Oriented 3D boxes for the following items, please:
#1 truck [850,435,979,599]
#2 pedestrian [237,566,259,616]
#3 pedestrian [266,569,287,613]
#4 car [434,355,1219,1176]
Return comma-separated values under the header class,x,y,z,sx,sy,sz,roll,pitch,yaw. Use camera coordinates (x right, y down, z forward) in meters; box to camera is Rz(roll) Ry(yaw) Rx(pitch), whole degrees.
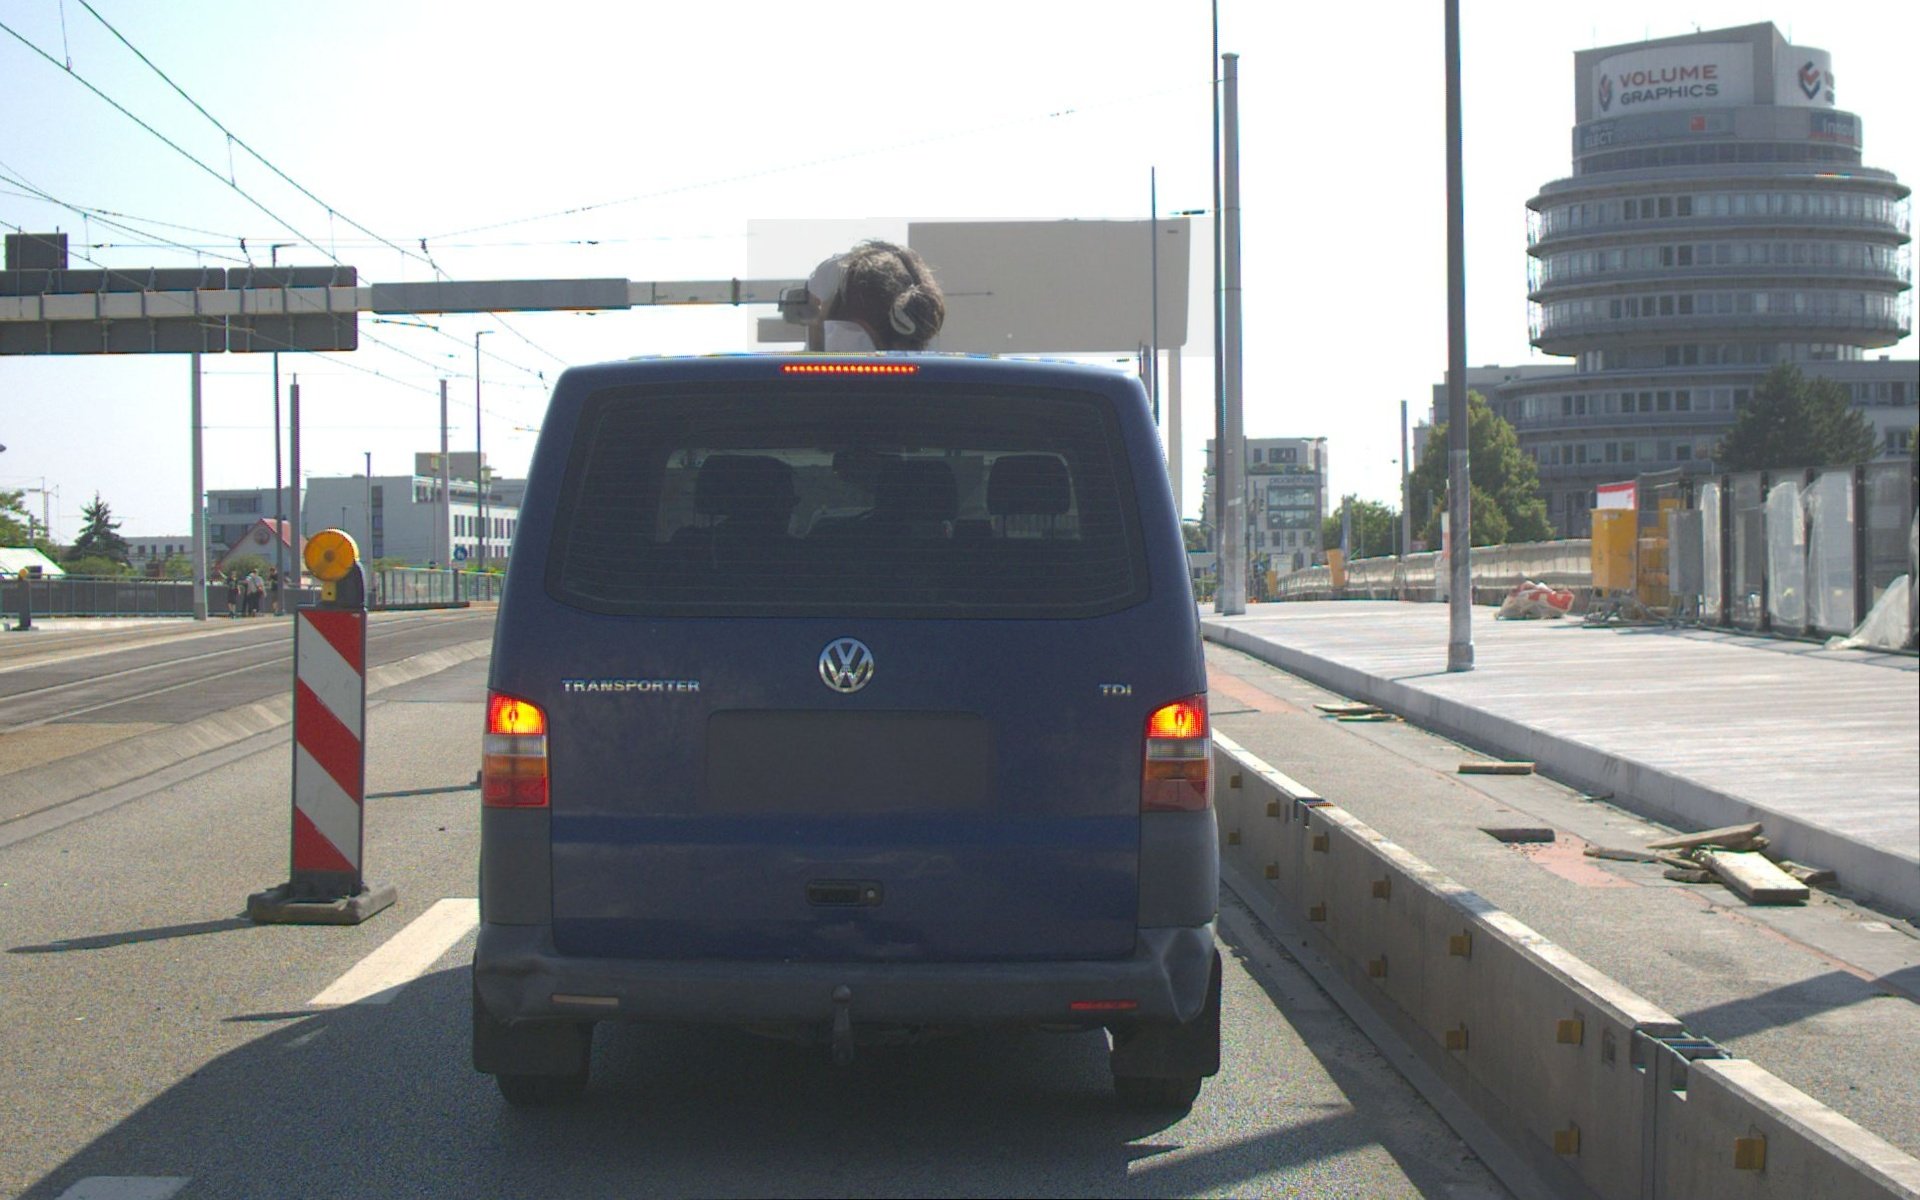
class,x,y,z,sx,sy,sz,roll,pitch,yaw
truck,-0.950,-1.795,71.982,2.460,3.124,11.217,-1,2,-1
pedestrian,-25.371,-0.335,122.567,0.634,1.768,0.752,0,1,-1
pedestrian,-24.901,-0.331,125.264,0.634,1.593,0.752,0,1,-1
car,-0.353,0.355,10.027,1.815,1.899,4.055,0,1,-1
